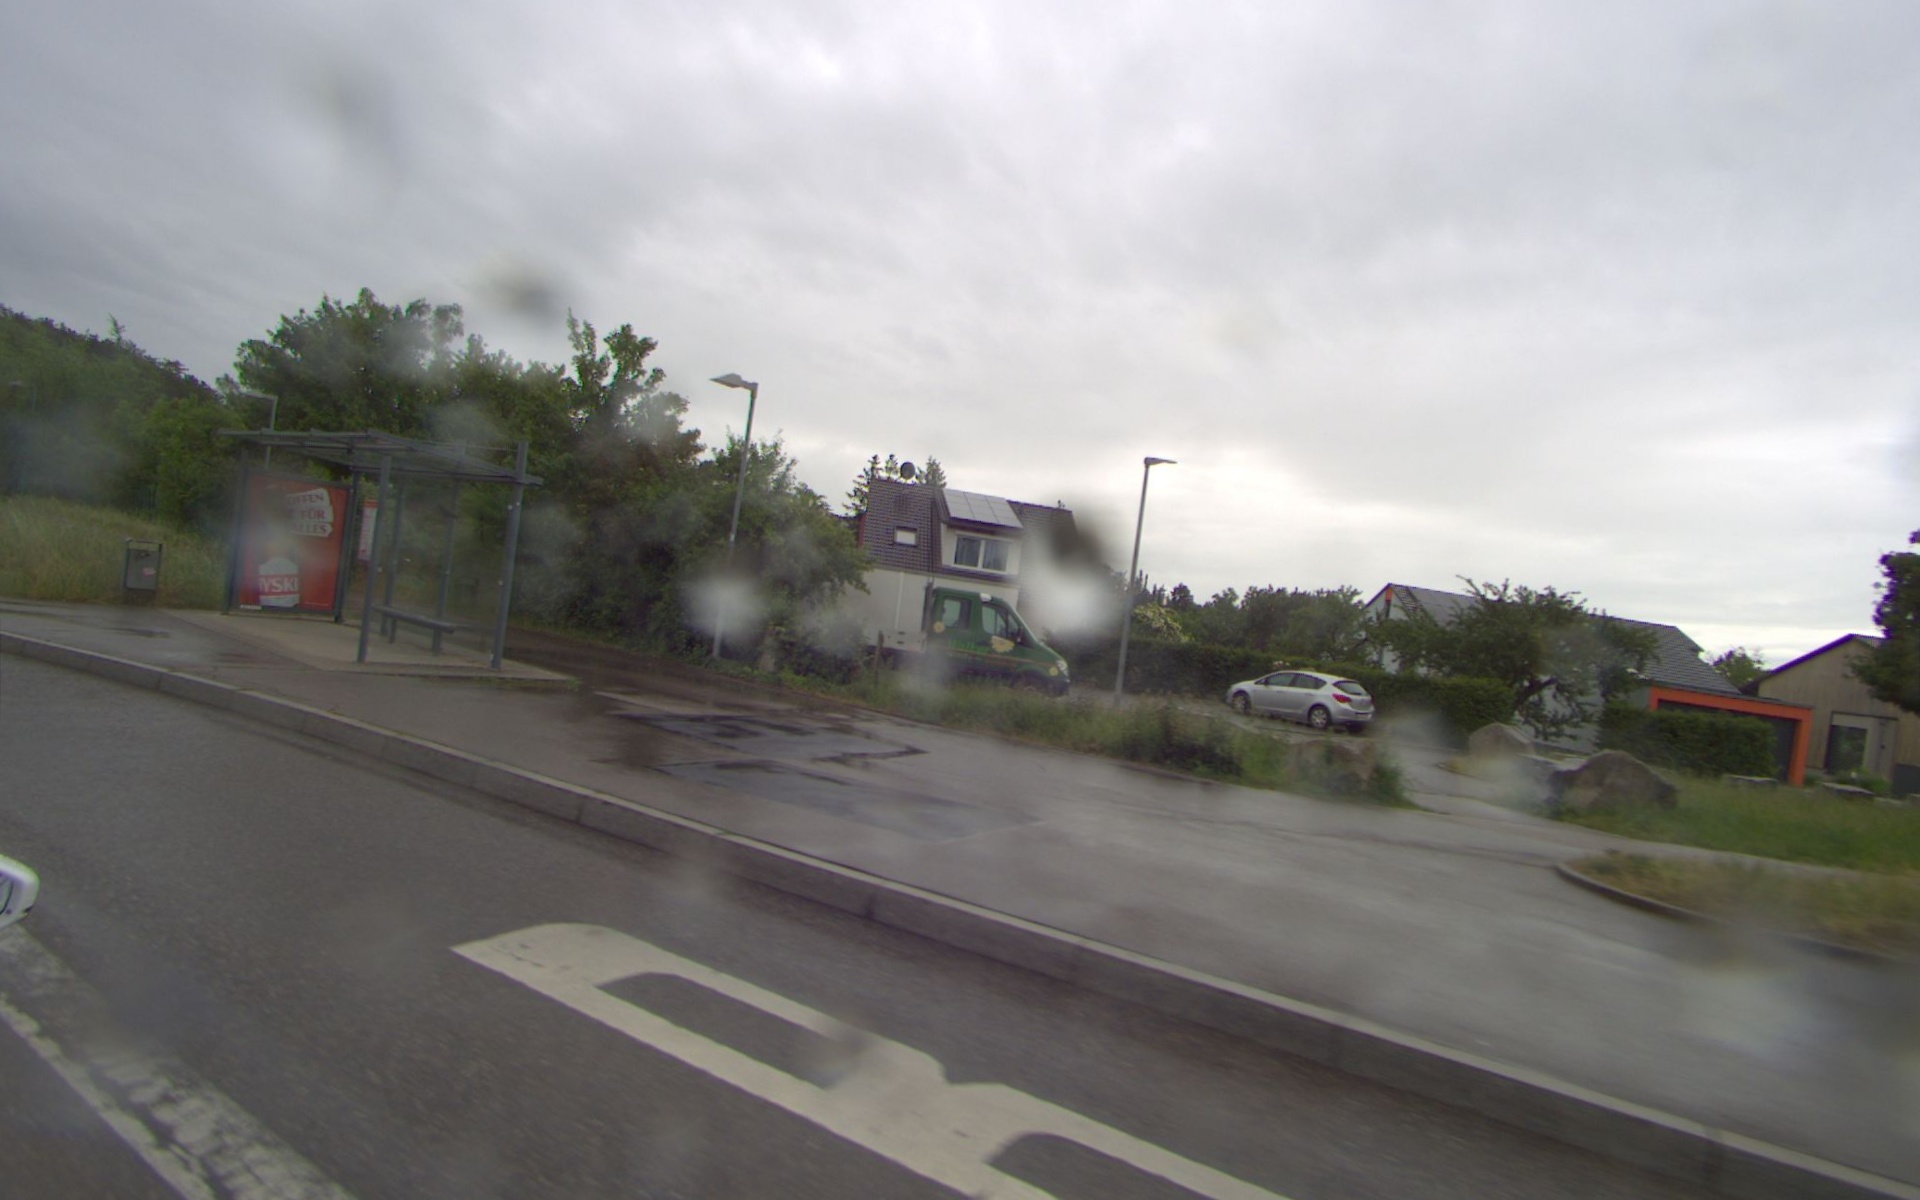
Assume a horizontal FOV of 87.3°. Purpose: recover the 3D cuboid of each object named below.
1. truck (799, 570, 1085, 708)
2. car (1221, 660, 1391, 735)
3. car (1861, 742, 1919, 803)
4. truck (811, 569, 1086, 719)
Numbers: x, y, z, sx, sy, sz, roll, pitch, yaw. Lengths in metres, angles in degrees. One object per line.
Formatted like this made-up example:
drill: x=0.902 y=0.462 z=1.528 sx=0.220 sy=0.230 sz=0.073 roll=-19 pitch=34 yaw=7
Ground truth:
truck: x=-0.440 y=0.840 z=21.853 sx=5.747 sy=2.134 sz=1.999 roll=8 pitch=-1 yaw=-6
car: x=9.563 y=2.675 z=28.074 sx=1.745 sy=1.449 sz=4.169 roll=8 pitch=-1 yaw=-34
car: x=33.194 y=6.060 z=33.787 sx=1.944 sy=1.771 sz=3.997 roll=8 pitch=0 yaw=-4
truck: x=-0.304 y=0.961 z=21.916 sx=5.537 sy=2.556 sz=1.998 roll=6 pitch=-1 yaw=-7
